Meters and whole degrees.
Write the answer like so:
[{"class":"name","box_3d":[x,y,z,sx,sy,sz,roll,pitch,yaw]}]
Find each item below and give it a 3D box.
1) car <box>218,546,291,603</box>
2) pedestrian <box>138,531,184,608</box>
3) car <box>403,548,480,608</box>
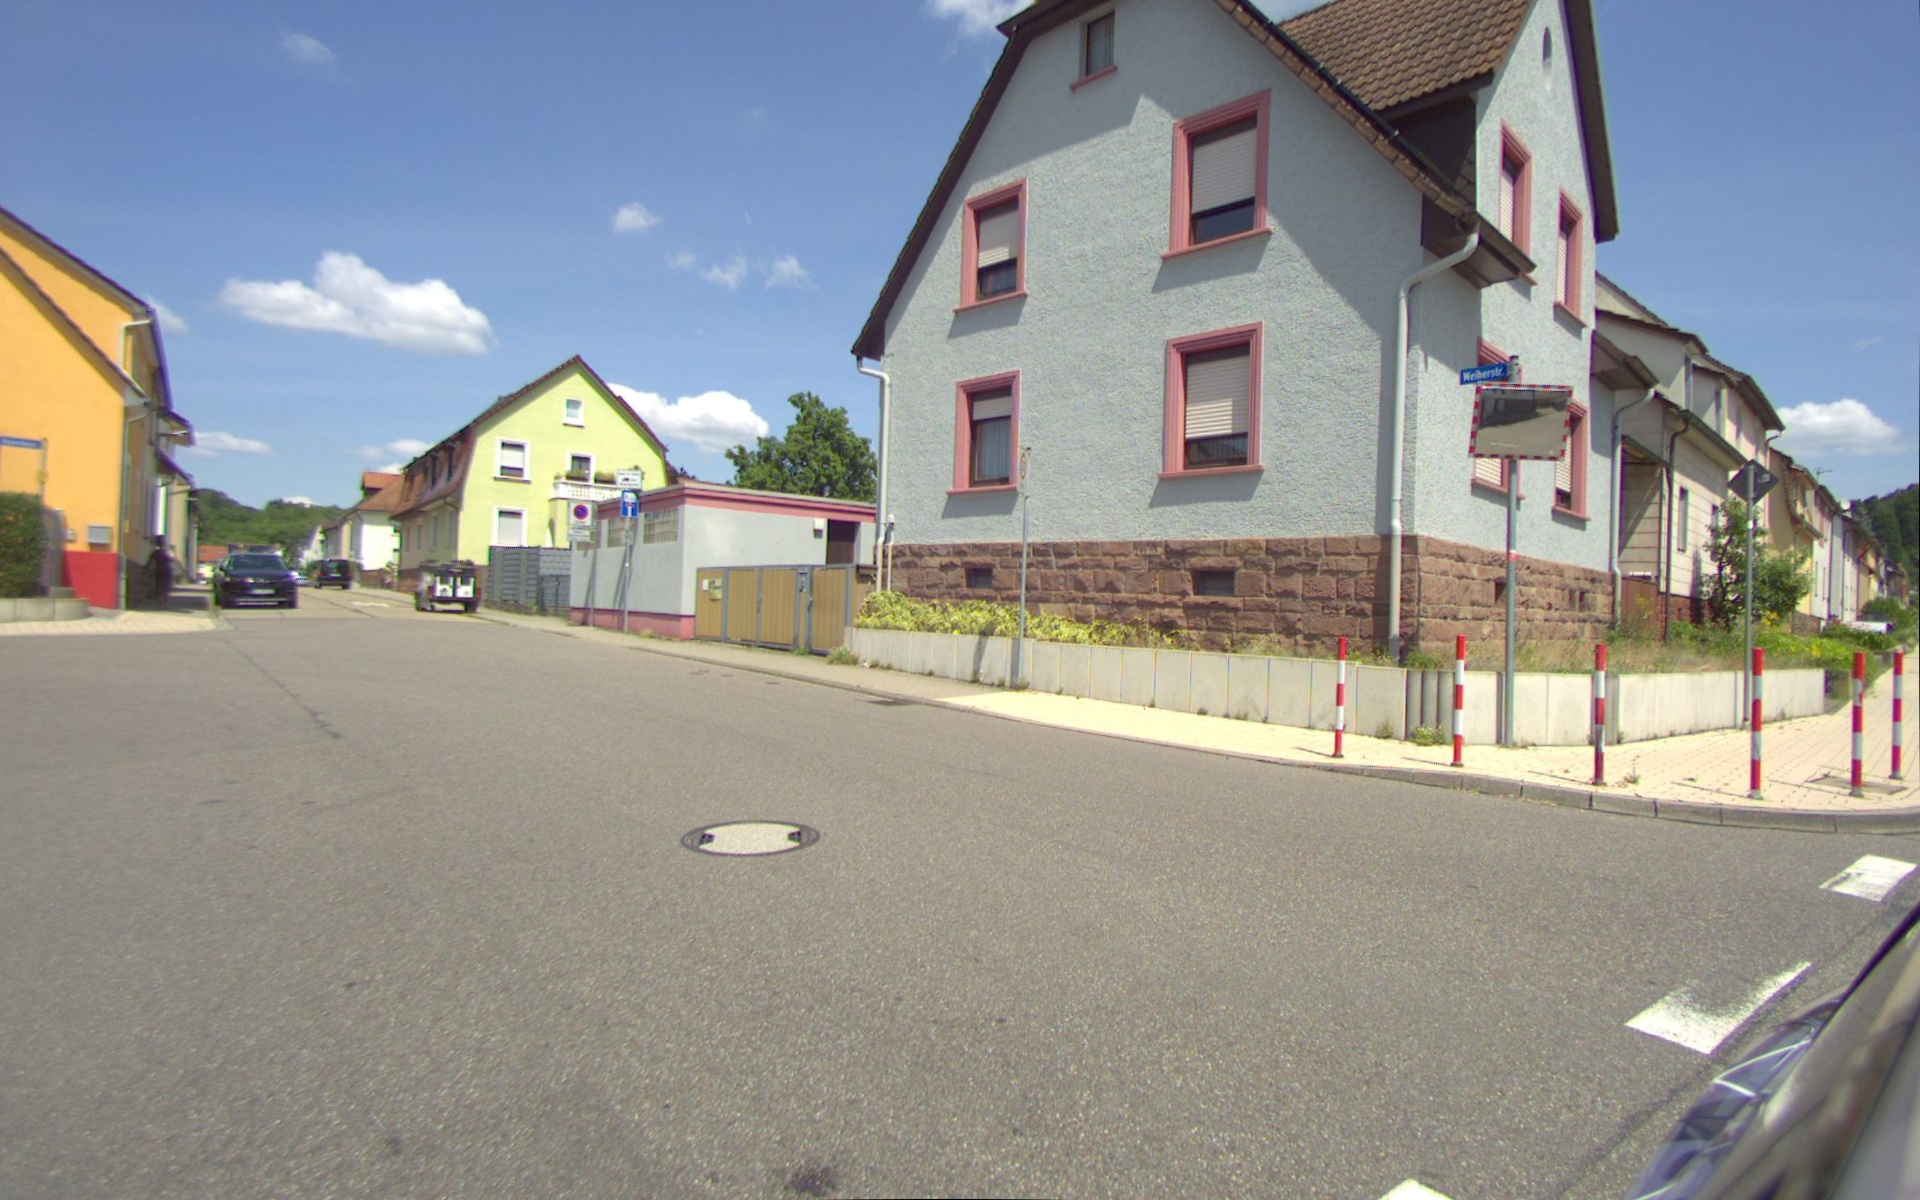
[{"class":"car","box_3d":[-20.714,-0.690,29.650,1.613,1.558,3.997,0,0,-37]},{"class":"pedestrian","box_3d":[-19.289,-0.728,24.438,0.678,1.770,0.874,7,-4,-38]},{"class":"car","box_3d":[-17.150,-0.680,33.409,1.613,1.851,3.997,0,0,-37]}]
